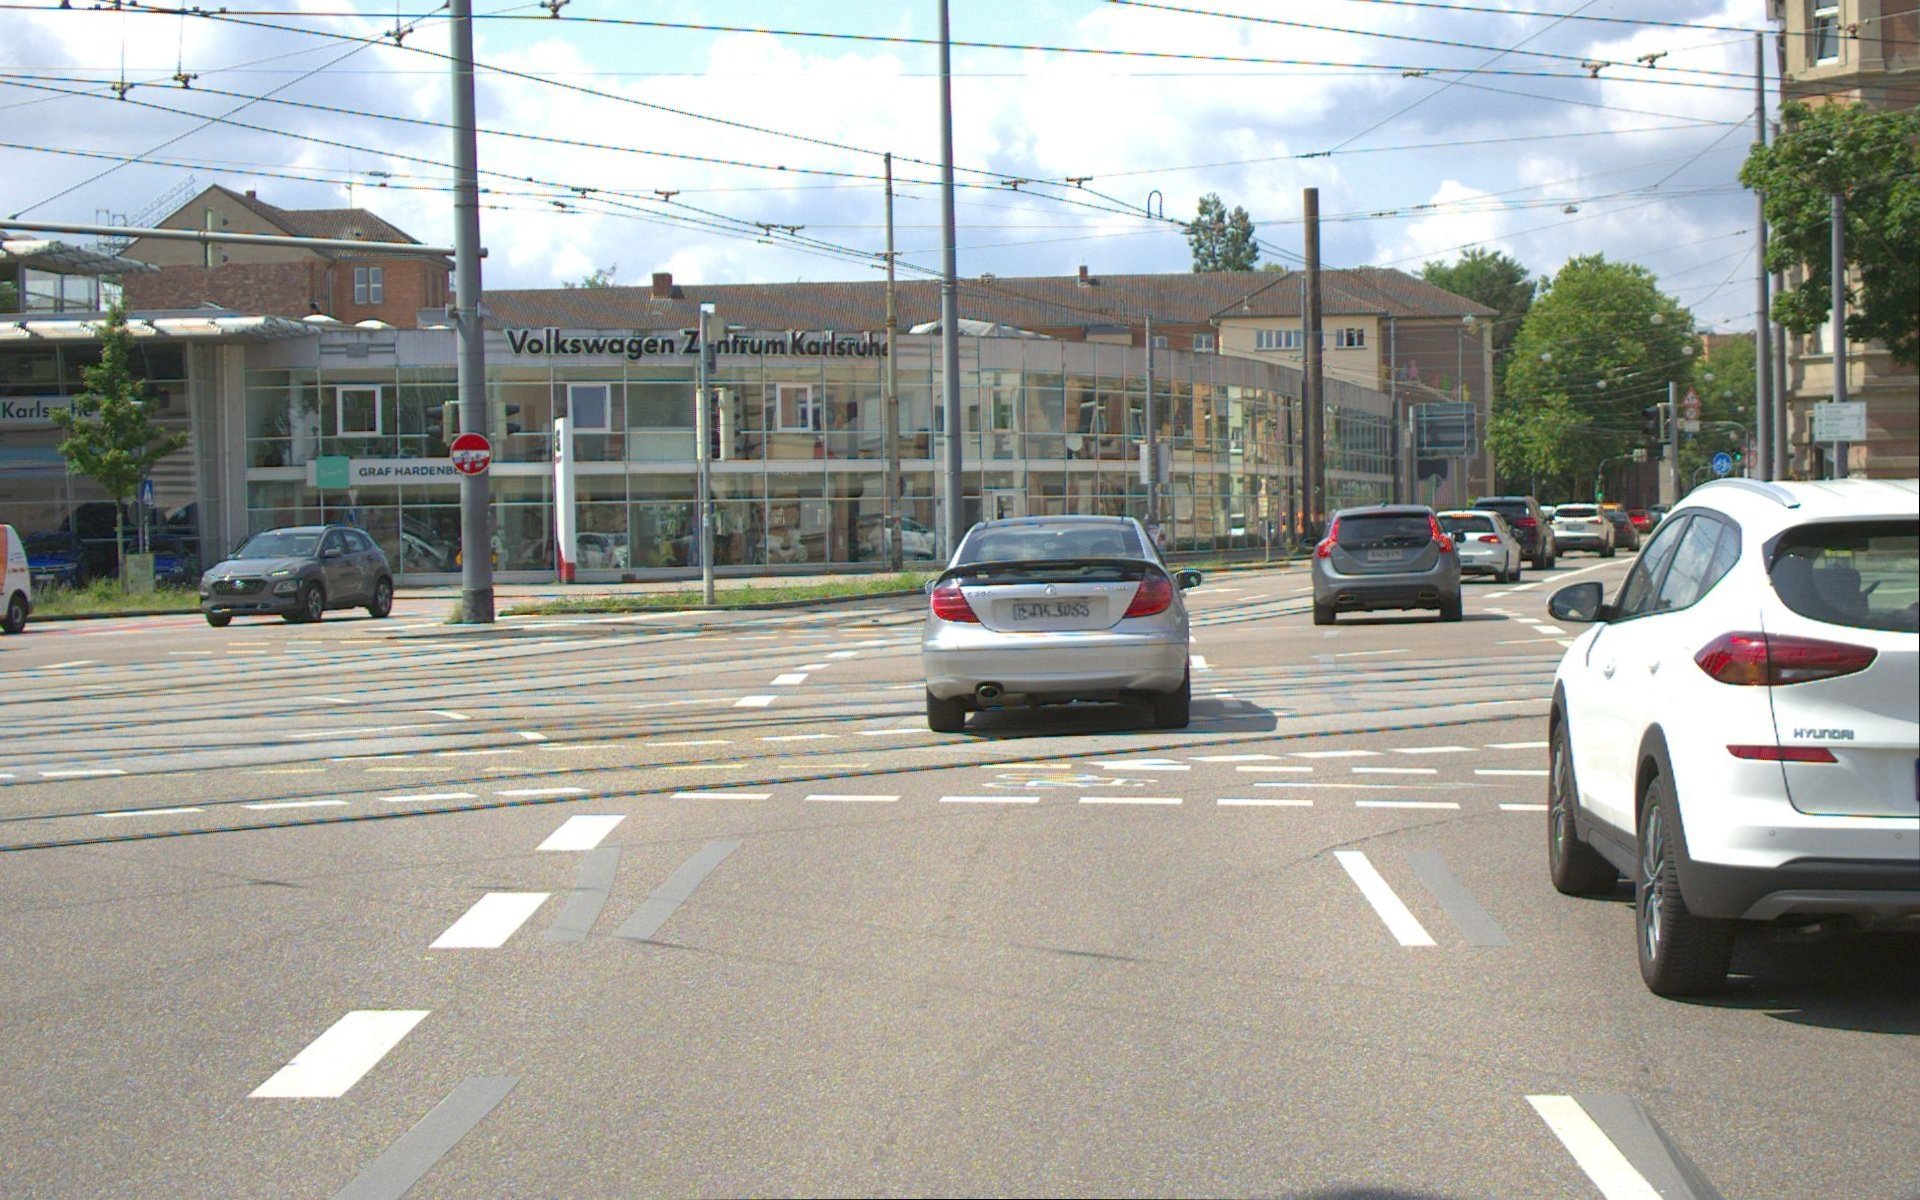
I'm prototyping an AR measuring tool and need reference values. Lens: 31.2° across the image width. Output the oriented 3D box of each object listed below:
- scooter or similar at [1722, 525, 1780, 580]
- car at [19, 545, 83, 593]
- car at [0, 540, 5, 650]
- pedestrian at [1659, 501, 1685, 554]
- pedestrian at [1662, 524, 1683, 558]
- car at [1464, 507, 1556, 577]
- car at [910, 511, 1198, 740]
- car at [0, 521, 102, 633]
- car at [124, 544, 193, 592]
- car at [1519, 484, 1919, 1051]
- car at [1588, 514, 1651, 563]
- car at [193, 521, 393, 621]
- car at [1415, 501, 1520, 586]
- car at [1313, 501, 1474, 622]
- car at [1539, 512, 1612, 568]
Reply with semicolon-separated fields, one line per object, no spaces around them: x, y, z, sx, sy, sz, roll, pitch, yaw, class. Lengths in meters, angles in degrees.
17.209;-1.023;74.776;1.517;1.170;0.383;0;0;-39;scooter or similar
-24.733;-0.839;93.481;1.647;1.246;4.001;0;0;-16;car
-13.580;-0.009;42.888;1.653;1.429;4.270;-1;1;7;car
19.872;-2.017;95.987;0.693;1.452;0.679;0;0;14;pedestrian
19.890;-1.640;95.937;0.525;0.903;1.560;0;0;13;pedestrian
13.337;-1.411;83.206;1.882;1.635;3.955;0;1;14;car
0.726;0.114;23.378;1.741;1.387;4.179;-1;1;4;car
-15.970;-0.370;56.503;1.719;1.794;4.738;-2;1;11;car
-21.705;-0.852;93.049;1.647;1.246;4.001;0;0;-16;car
3.156;0.434;12.026;1.881;1.635;4.232;-1;1;3;car
22.675;-2.115;118.094;1.882;1.635;3.955;0;1;14;car
-10.704;-0.500;55.427;1.719;1.526;4.119;-1;1;11;car
10.264;-1.152;69.368;1.882;1.635;3.955;-1;1;11;car
5.392;-0.500;42.749;1.881;1.414;3.956;-1;1;7;car
18.590;-1.813;103.714;1.882;1.635;3.955;0;1;14;car
